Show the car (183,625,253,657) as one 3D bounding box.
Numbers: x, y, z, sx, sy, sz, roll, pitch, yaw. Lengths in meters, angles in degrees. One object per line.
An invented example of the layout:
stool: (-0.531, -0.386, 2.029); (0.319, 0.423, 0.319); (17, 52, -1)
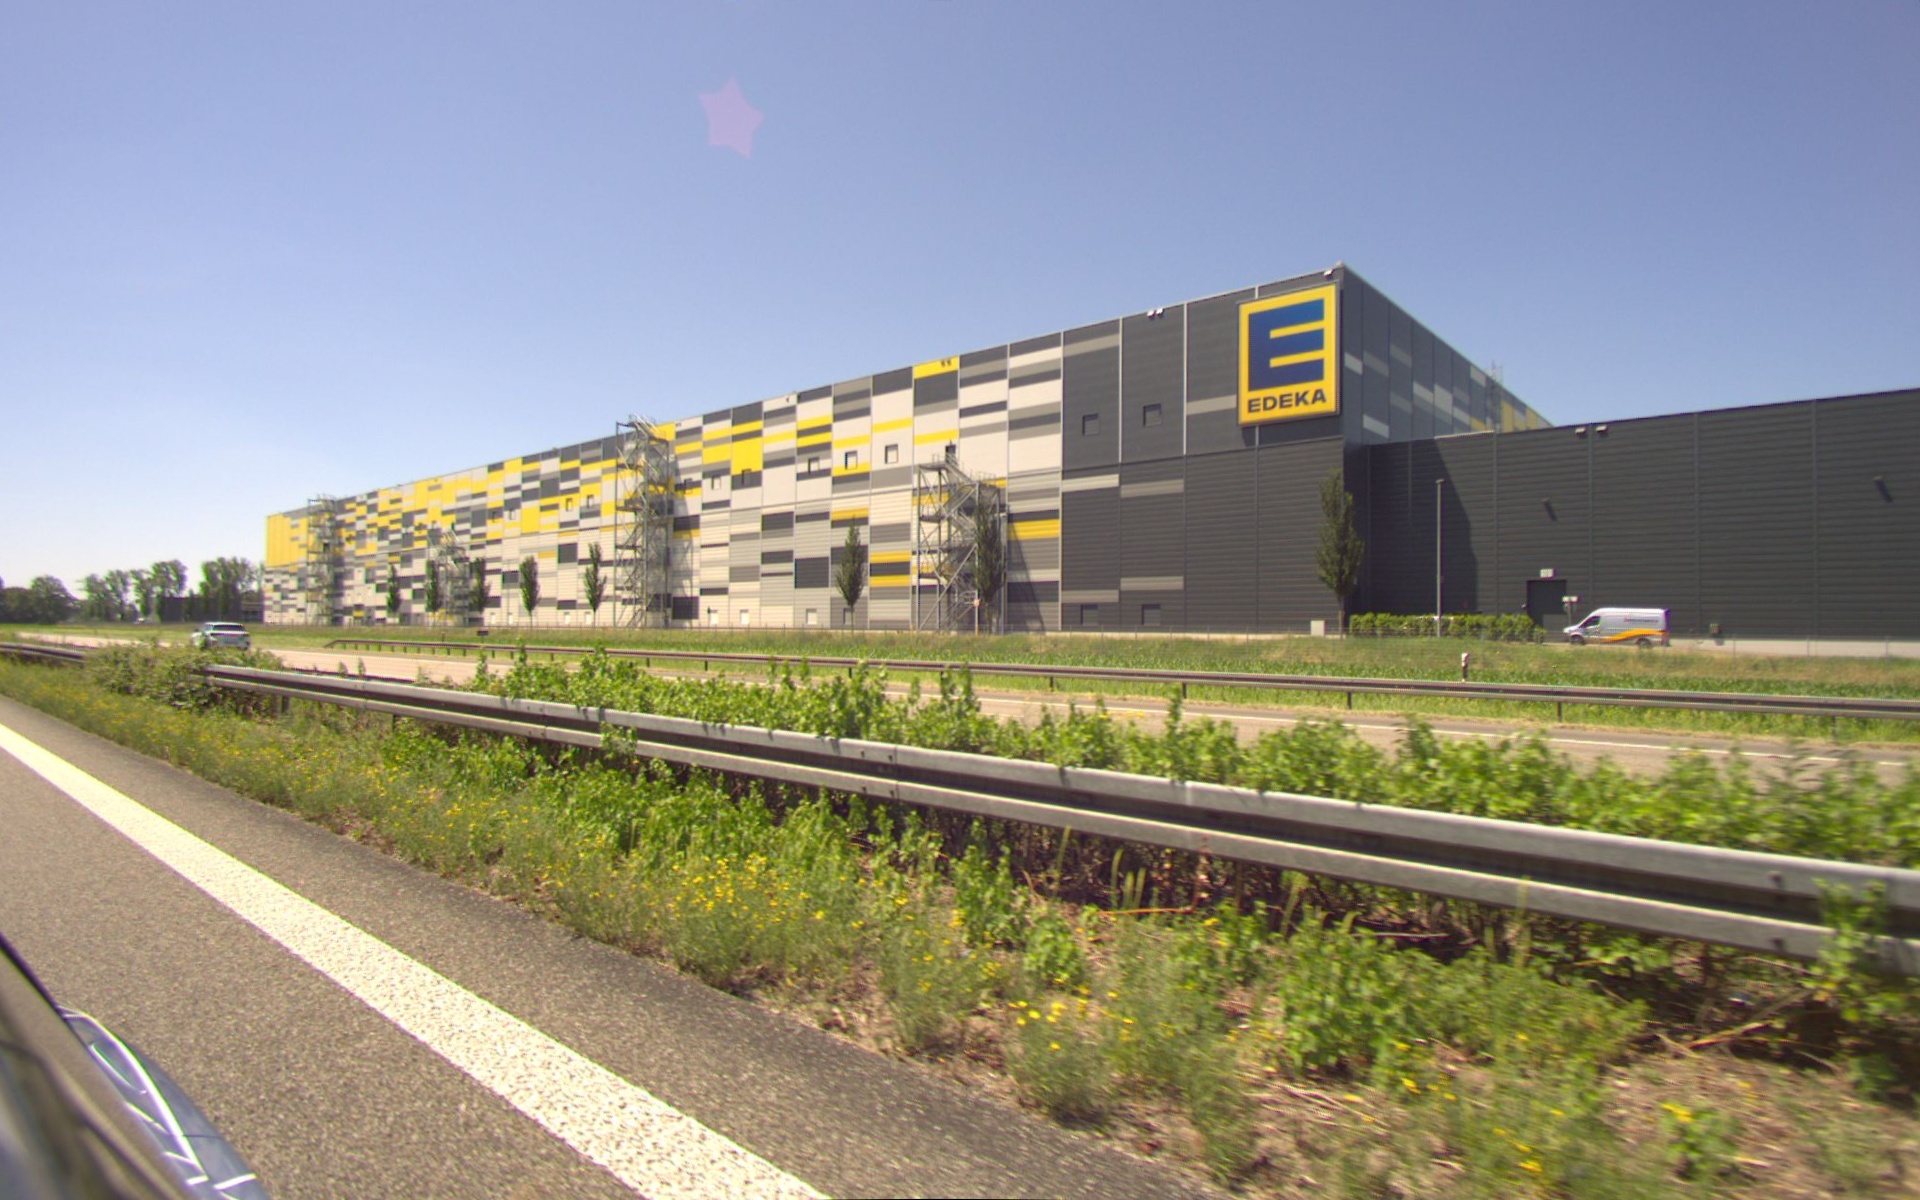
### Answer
car: (-36.487, 2.012, 49.730); (4.414, 1.495, 1.789); (-1, -4, 41)

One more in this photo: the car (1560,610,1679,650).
car: (42.469, 1.948, 65.282); (6.171, 2.475, 2.372); (-1, -2, 41)
